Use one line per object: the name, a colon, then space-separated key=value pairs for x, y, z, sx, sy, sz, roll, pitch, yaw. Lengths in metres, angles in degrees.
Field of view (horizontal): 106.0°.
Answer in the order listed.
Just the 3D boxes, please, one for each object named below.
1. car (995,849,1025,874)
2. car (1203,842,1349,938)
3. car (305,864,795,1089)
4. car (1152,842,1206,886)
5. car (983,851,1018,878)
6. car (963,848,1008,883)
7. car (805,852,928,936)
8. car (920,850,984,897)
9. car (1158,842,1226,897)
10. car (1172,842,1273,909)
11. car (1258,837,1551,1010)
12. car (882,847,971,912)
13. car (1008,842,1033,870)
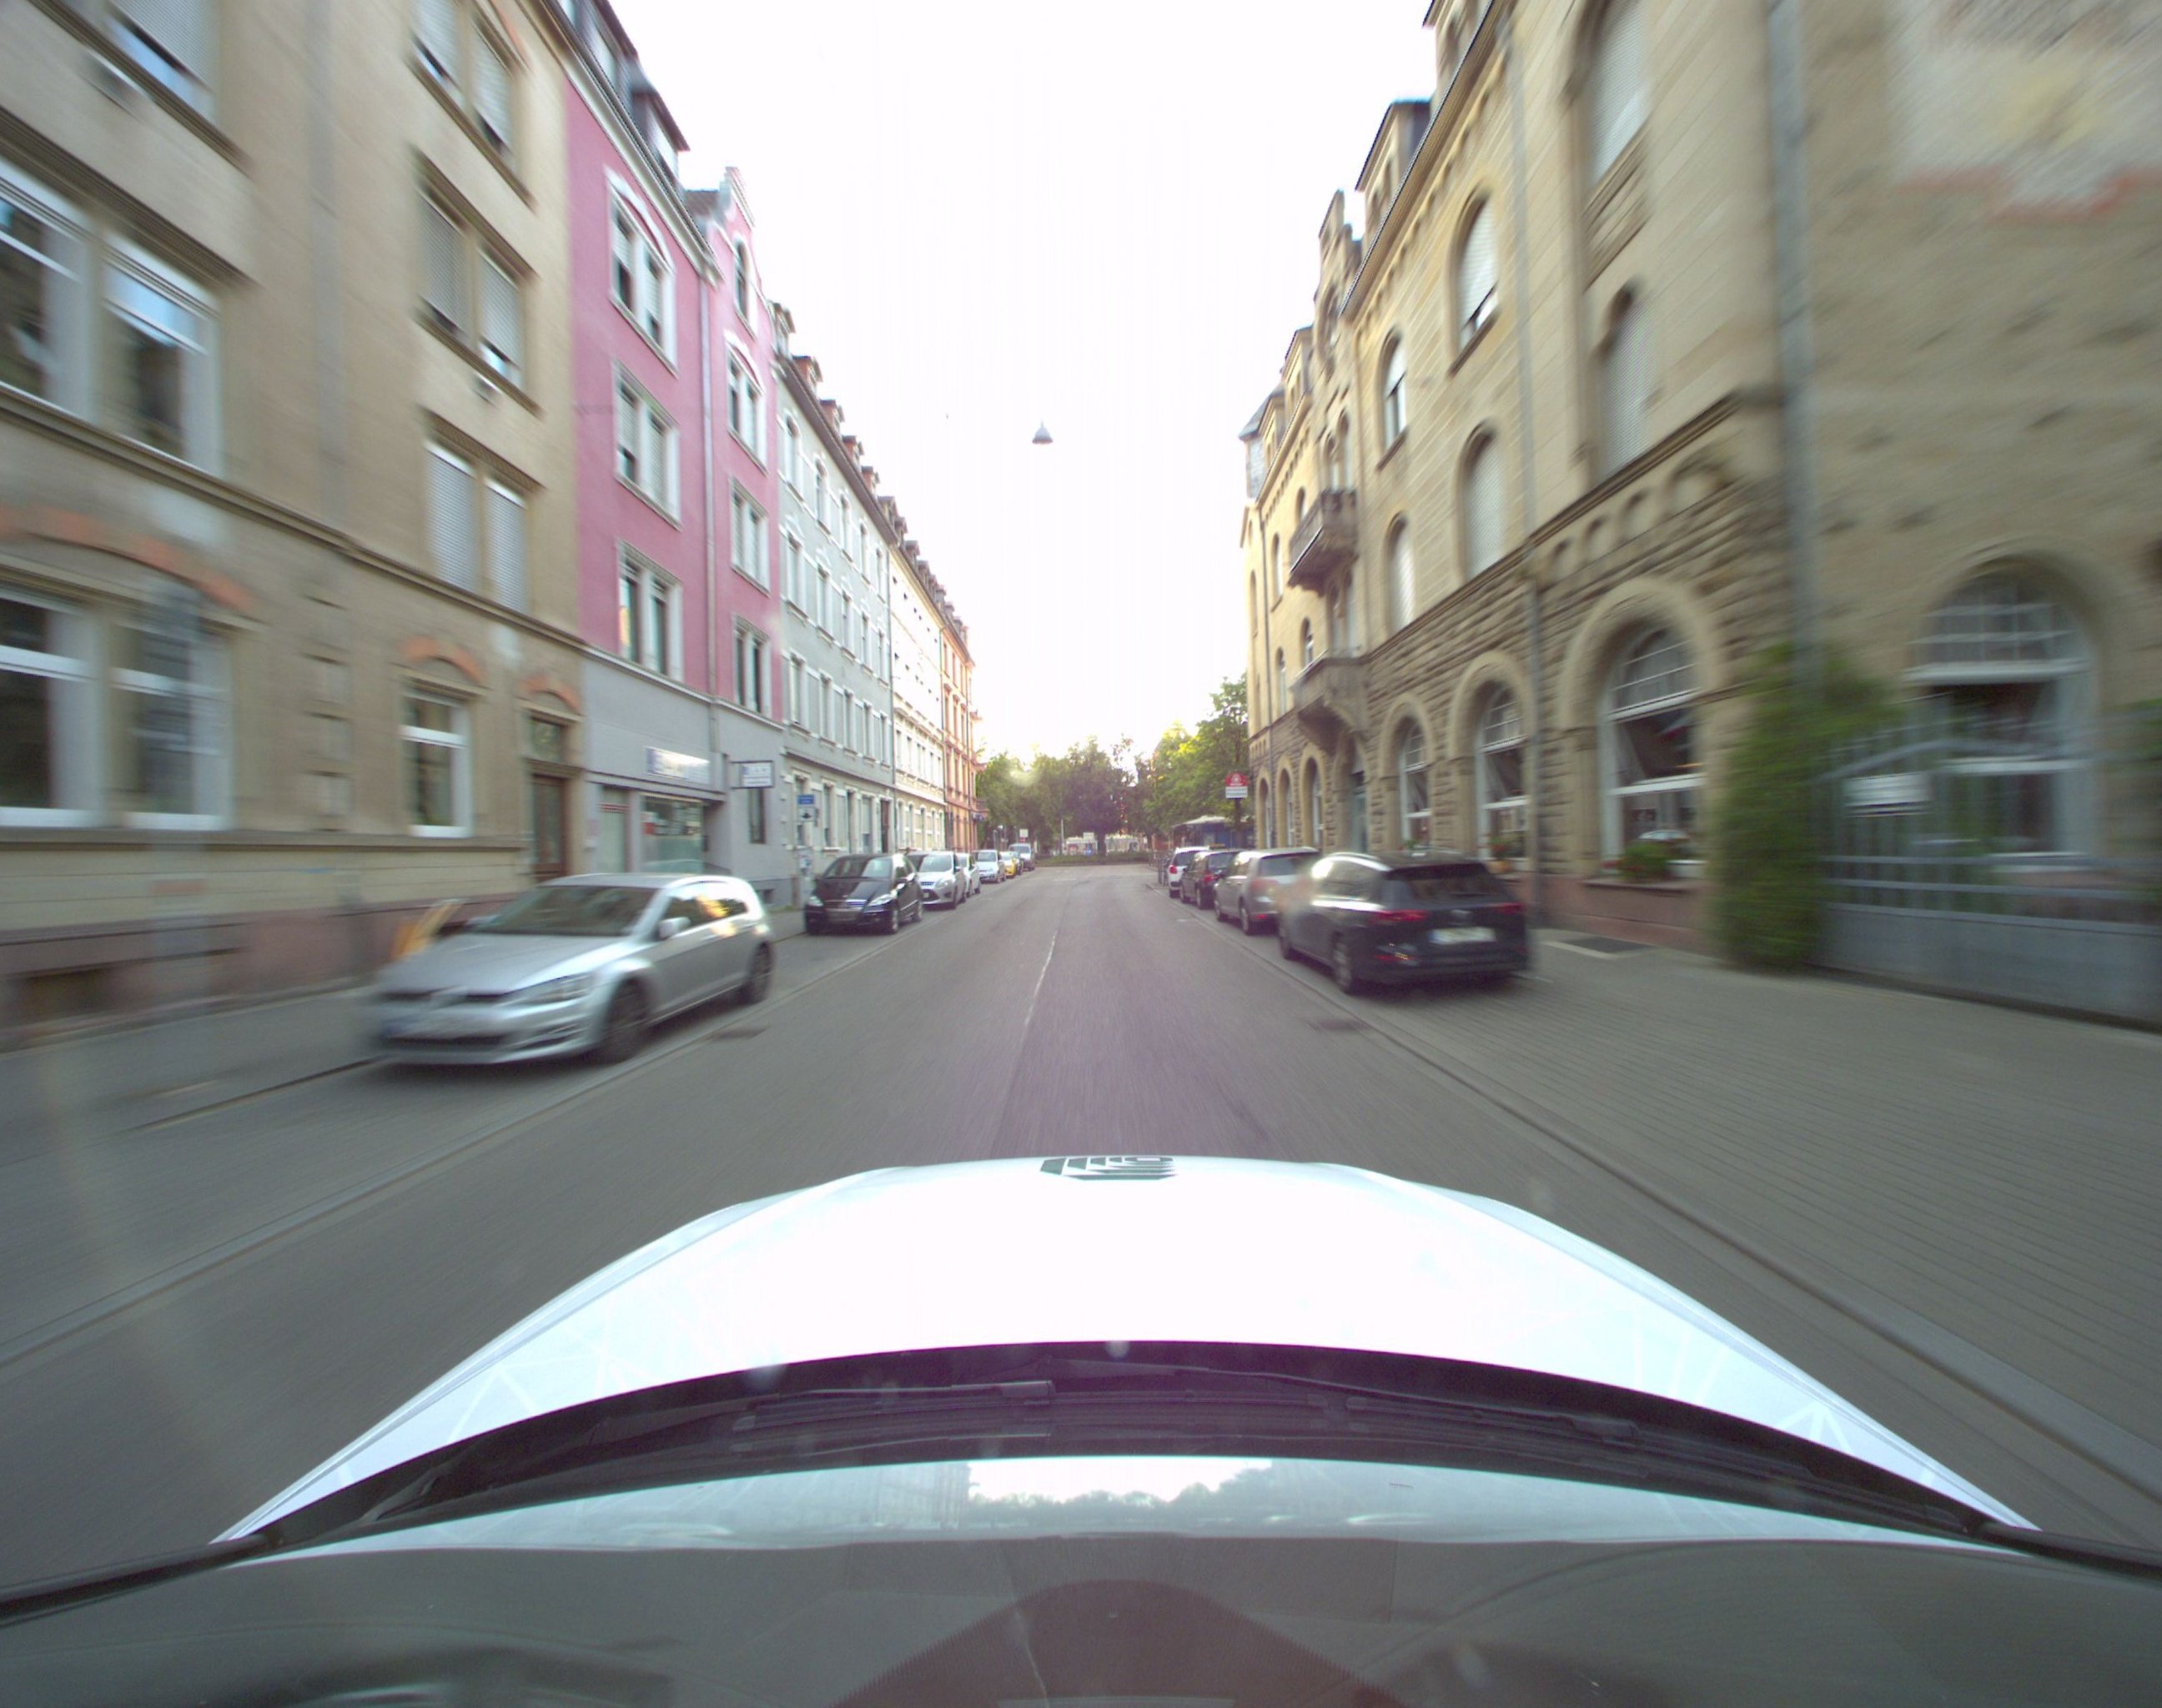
car: x=-4.501 y=0.442 z=51.756 sx=1.694 sy=1.552 sz=4.019 roll=0 pitch=0 yaw=-2
car: x=3.567 y=0.582 z=15.681 sx=1.671 sy=1.456 sz=4.229 roll=-5 pitch=0 yaw=0
car: x=-4.421 y=0.874 z=7.750 sx=1.828 sy=1.458 sz=4.207 roll=1 pitch=0 yaw=1
car: x=3.834 y=0.339 z=32.372 sx=1.670 sy=1.501 sz=4.020 roll=-5 pitch=0 yaw=2
car: x=-4.489 y=0.561 z=45.826 sx=1.694 sy=1.426 sz=4.019 roll=0 pitch=0 yaw=-2
car: x=-4.584 y=0.512 z=39.570 sx=1.693 sy=1.621 sz=4.021 roll=0 pitch=0 yaw=0
car: x=-4.406 y=0.746 z=17.271 sx=1.631 sy=1.565 sz=3.780 roll=-1 pitch=0 yaw=-1
car: x=-4.505 y=0.650 z=28.855 sx=1.693 sy=1.552 sz=3.569 roll=0 pitch=0 yaw=0
car: x=3.506 y=0.447 z=26.313 sx=1.670 sy=1.501 sz=3.903 roll=-5 pitch=0 yaw=2
car: x=3.583 y=0.506 z=21.286 sx=1.673 sy=1.456 sz=3.796 roll=-5 pitch=0 yaw=-3
car: x=3.437 y=0.616 z=9.676 sx=1.670 sy=1.429 sz=4.479 roll=-5 pitch=0 yaw=1
car: x=-4.332 y=0.661 z=23.452 sx=1.840 sy=1.659 sz=4.248 roll=-2 pitch=0 yaw=-3
car: x=-4.446 y=0.117 z=59.904 sx=1.807 sy=1.977 sz=4.181 roll=0 pitch=0 yaw=-4
